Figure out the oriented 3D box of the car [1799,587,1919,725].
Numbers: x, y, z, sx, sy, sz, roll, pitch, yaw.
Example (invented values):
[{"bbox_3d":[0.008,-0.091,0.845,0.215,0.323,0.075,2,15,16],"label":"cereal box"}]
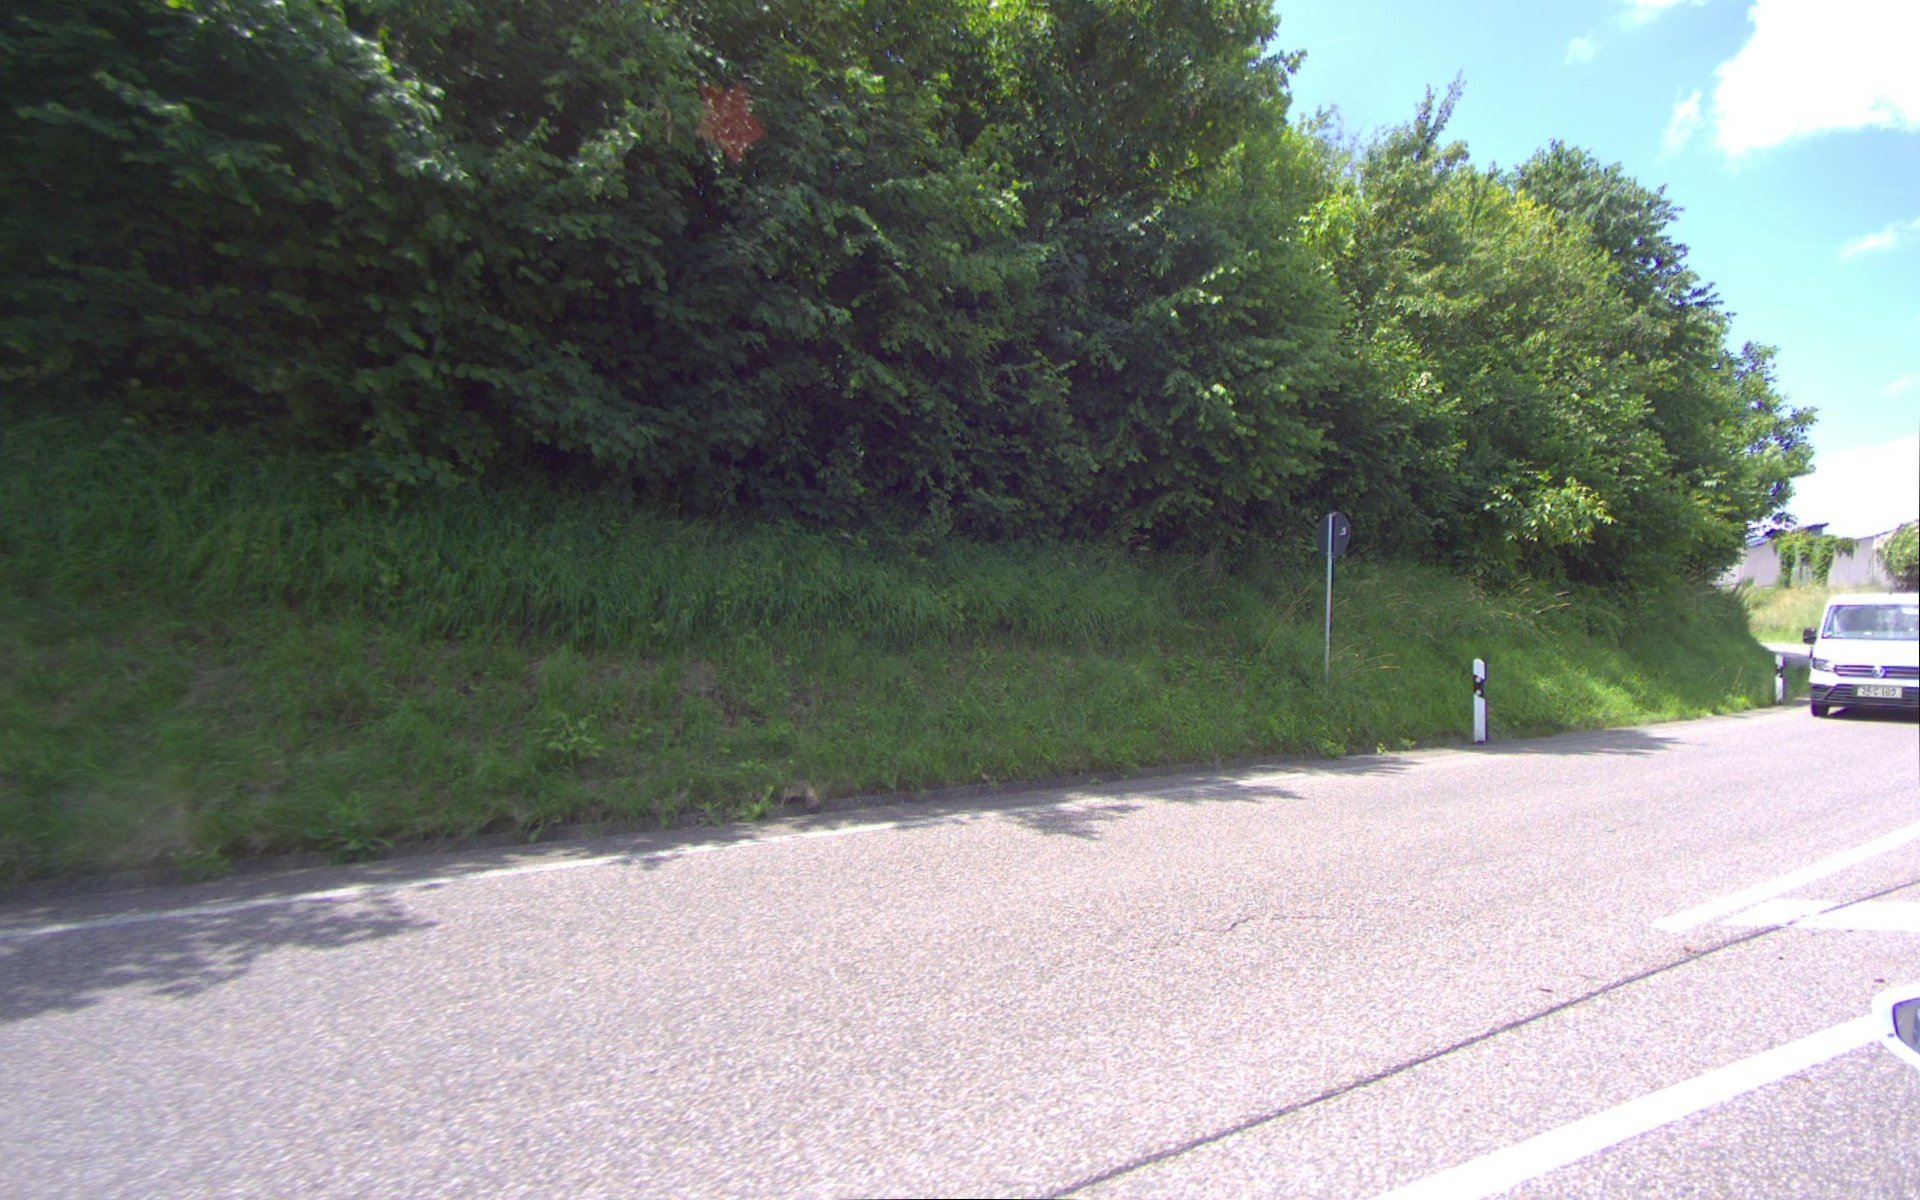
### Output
[{"bbox_3d":[17.891,1.049,19.327,5.907,2.320,2.065,3,-3,-44],"label":"car"}]
